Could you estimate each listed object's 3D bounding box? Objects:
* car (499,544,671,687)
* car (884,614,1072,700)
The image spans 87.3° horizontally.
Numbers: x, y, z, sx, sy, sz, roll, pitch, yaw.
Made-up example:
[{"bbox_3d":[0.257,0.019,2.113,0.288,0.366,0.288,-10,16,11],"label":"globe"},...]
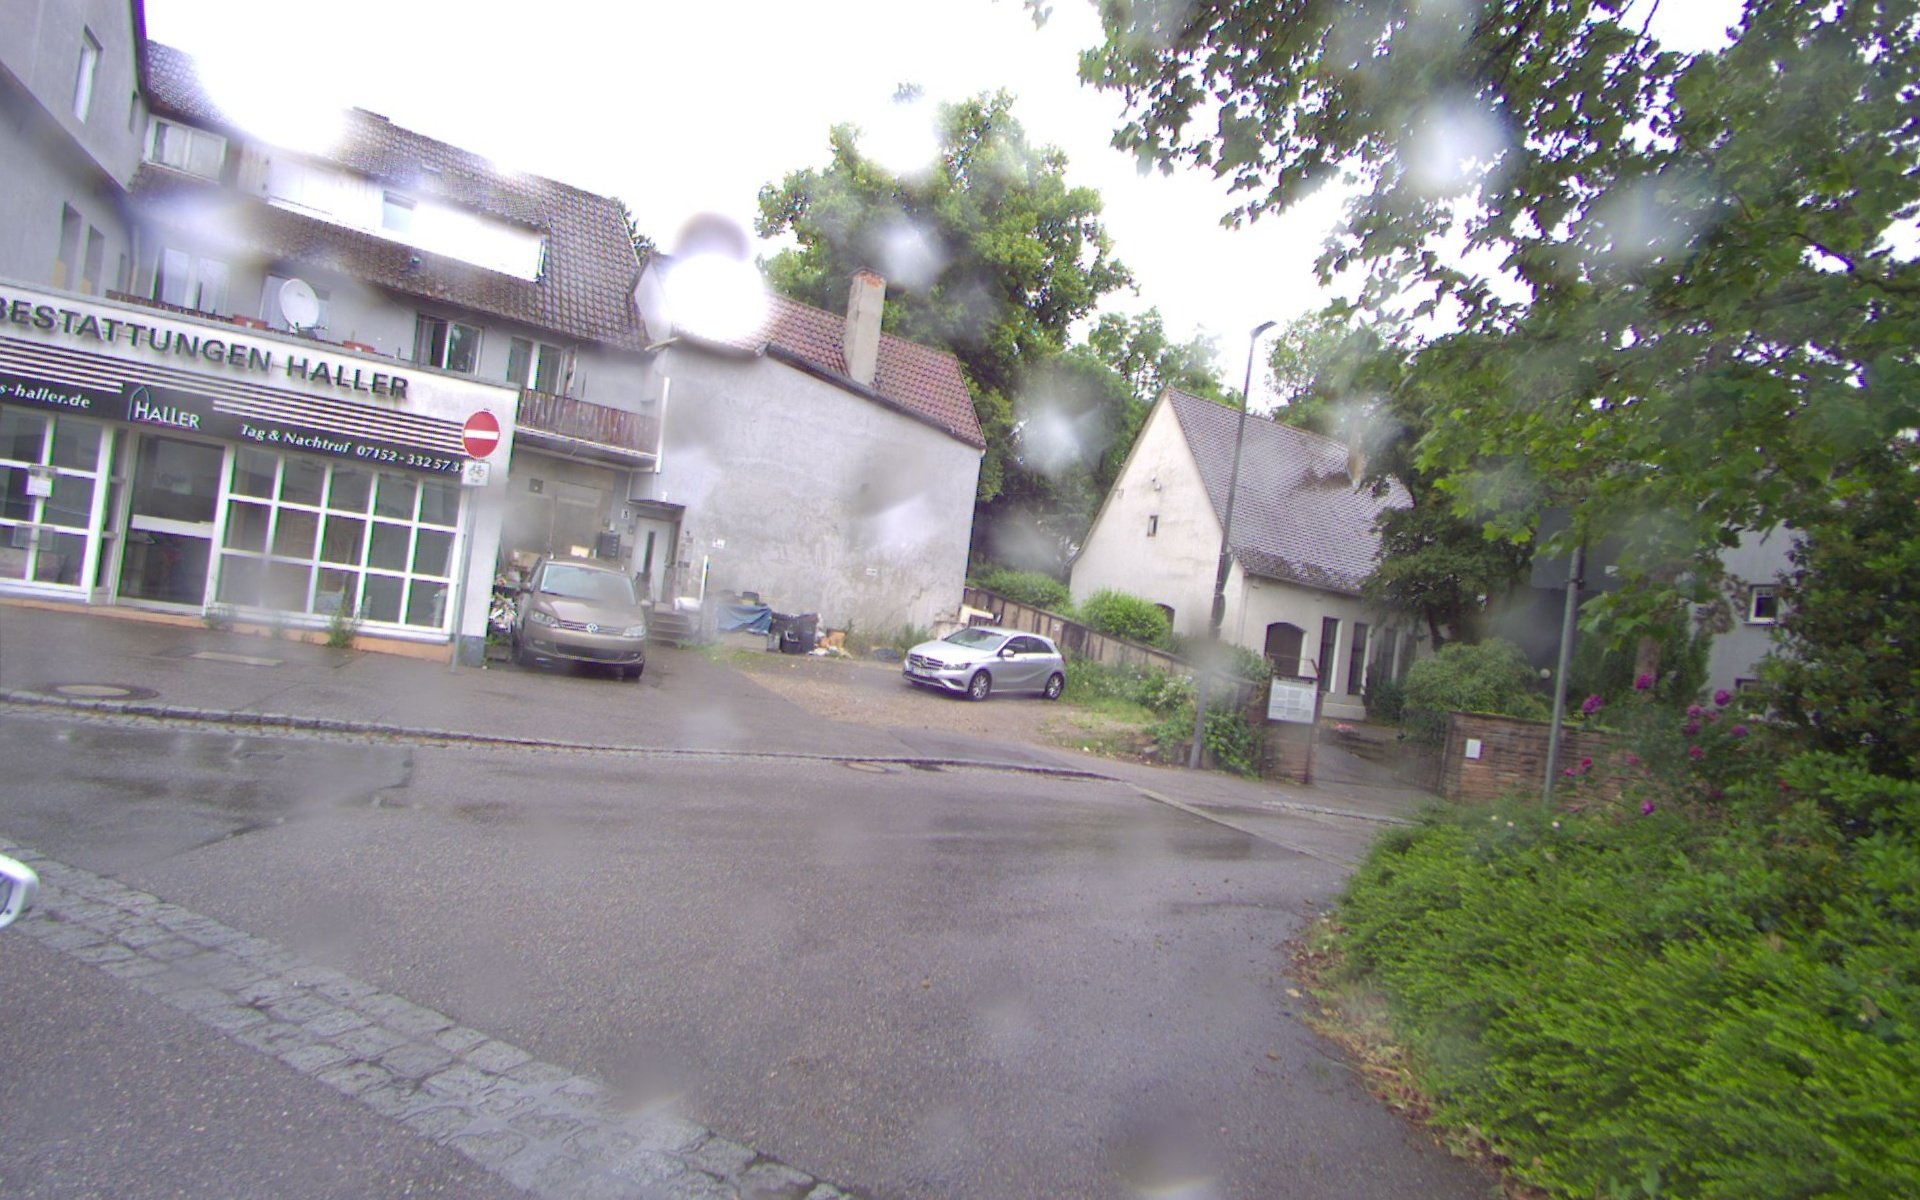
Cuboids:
[{"bbox_3d":[-6.314,0.142,16.568,1.908,1.749,4.633,8,0,-28],"label":"car"},{"bbox_3d":[0.478,1.266,21.400,1.717,1.406,4.022,10,2,40],"label":"car"}]
